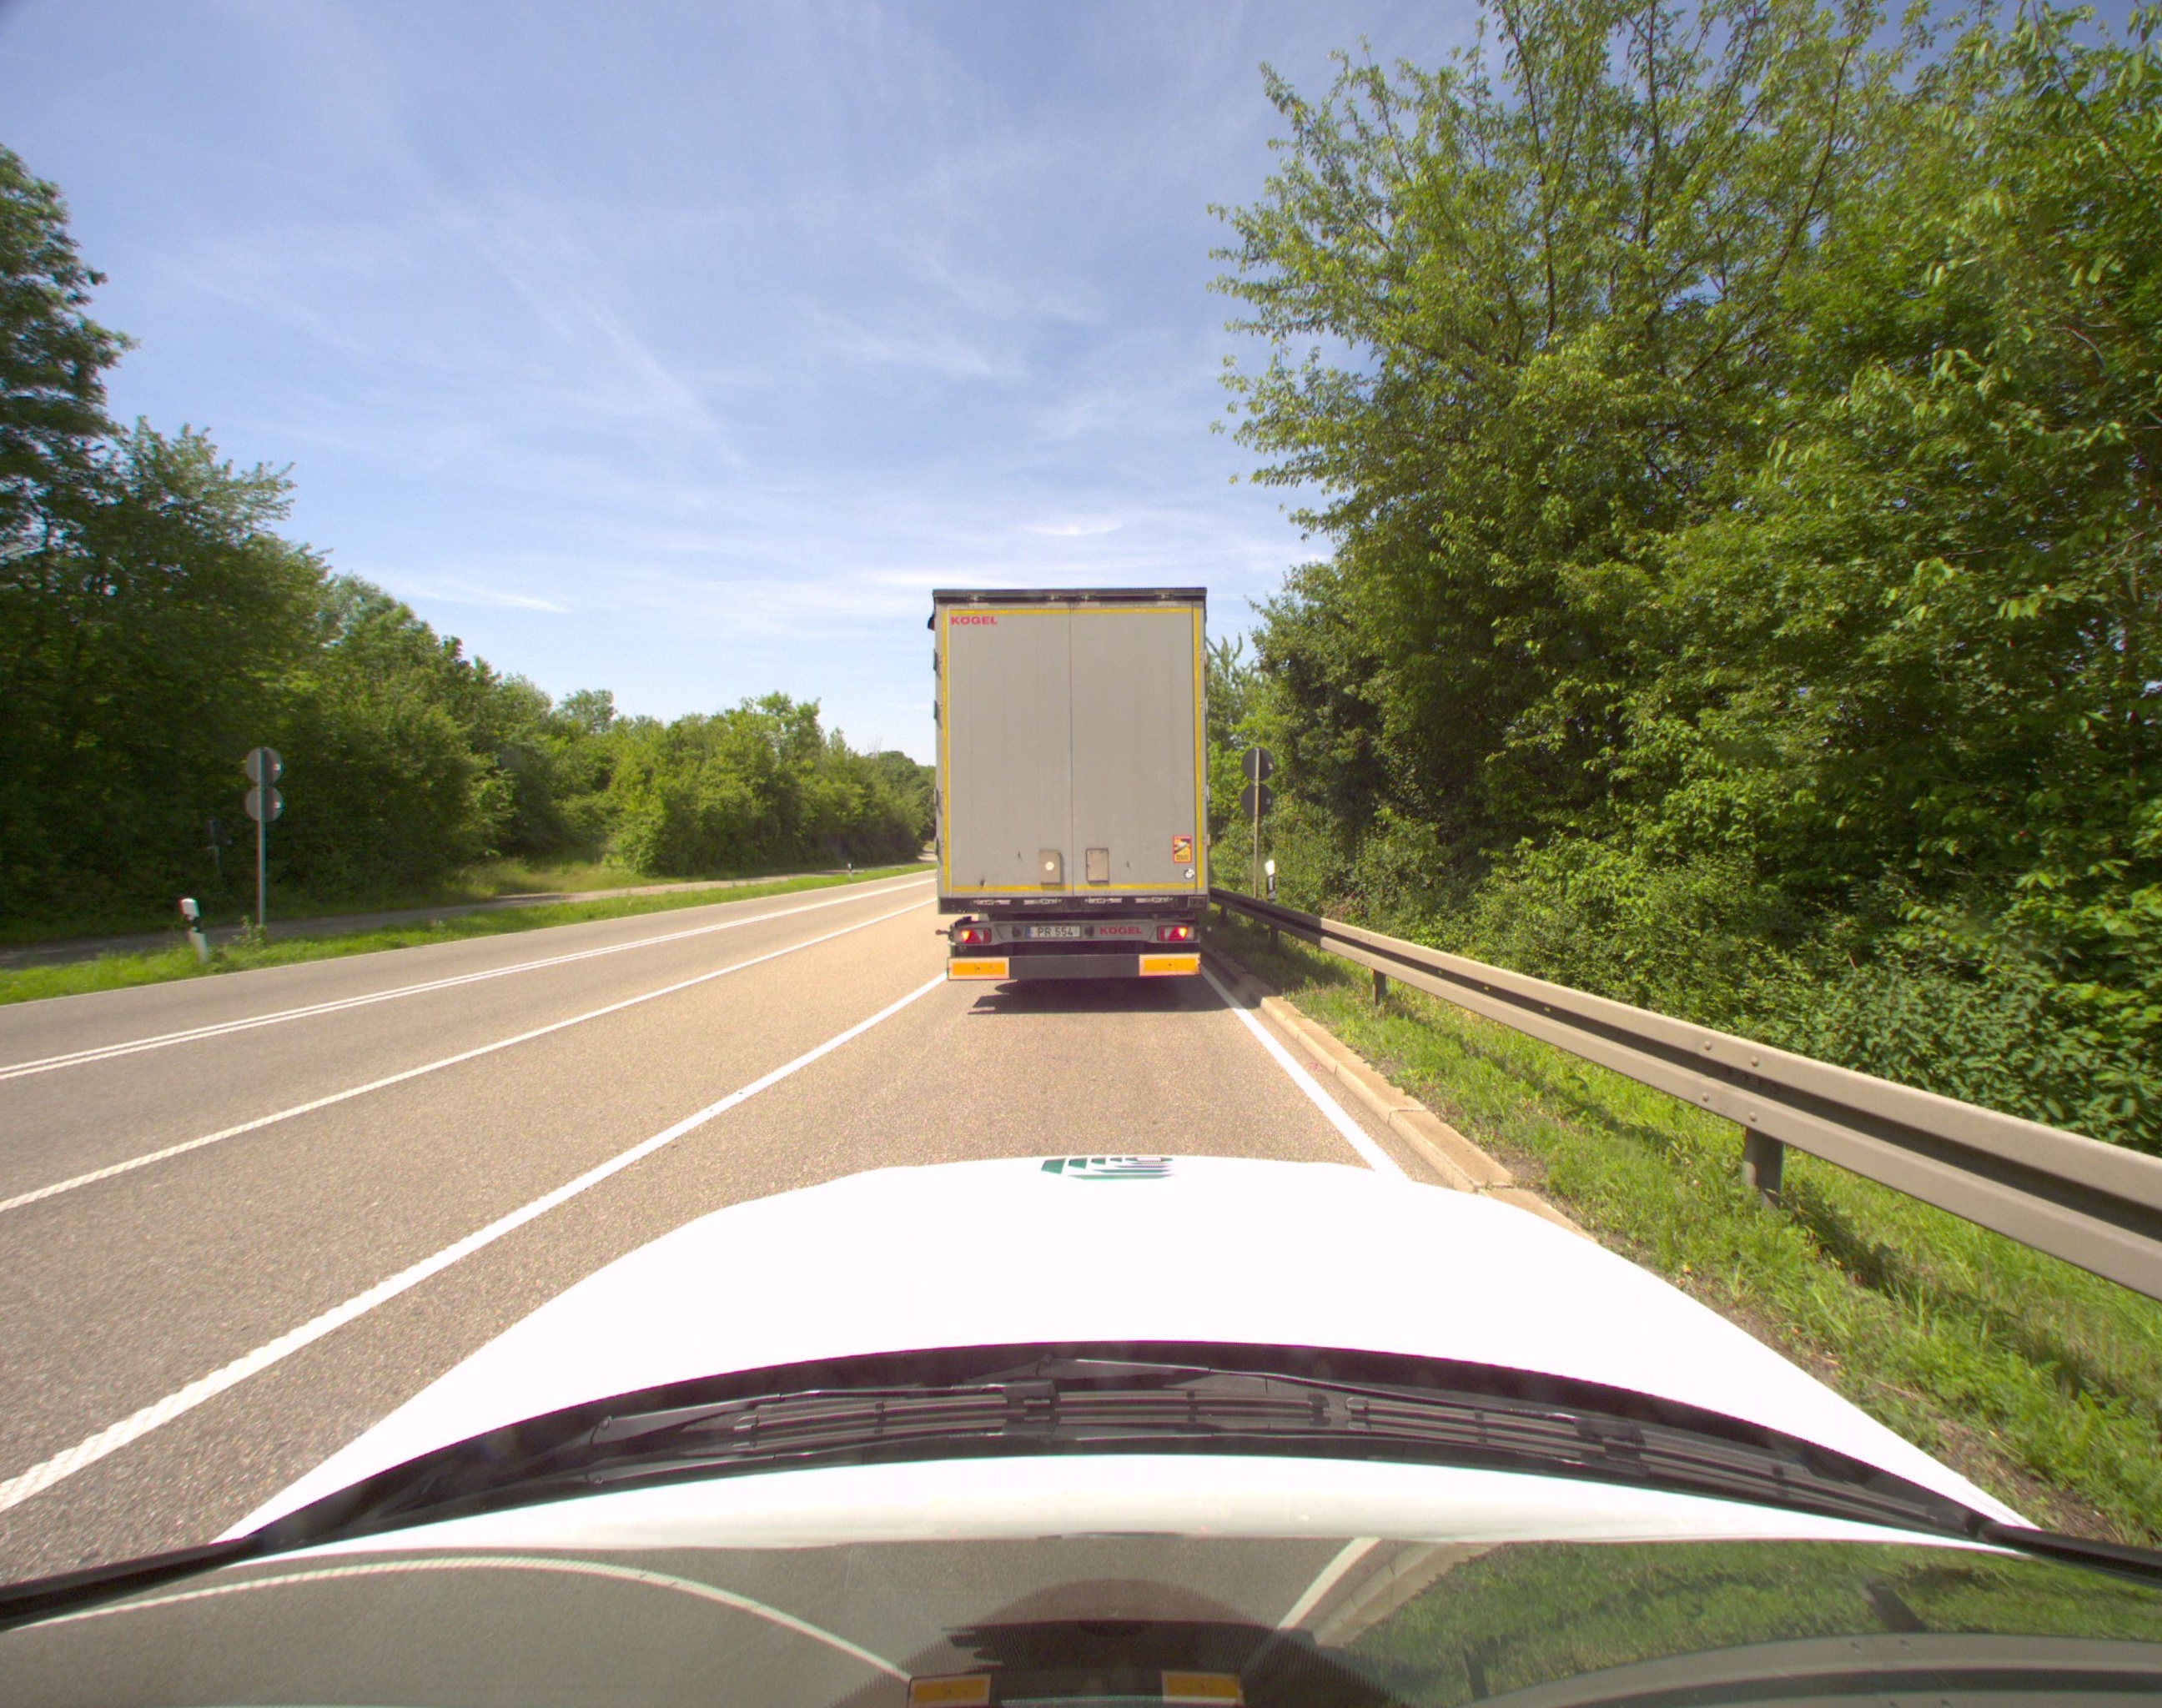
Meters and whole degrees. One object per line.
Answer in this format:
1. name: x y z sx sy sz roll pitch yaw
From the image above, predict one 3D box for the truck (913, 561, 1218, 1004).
1. truck: -0.025 -0.675 13.419 2.747 4.029 11.926 -1 0 1
